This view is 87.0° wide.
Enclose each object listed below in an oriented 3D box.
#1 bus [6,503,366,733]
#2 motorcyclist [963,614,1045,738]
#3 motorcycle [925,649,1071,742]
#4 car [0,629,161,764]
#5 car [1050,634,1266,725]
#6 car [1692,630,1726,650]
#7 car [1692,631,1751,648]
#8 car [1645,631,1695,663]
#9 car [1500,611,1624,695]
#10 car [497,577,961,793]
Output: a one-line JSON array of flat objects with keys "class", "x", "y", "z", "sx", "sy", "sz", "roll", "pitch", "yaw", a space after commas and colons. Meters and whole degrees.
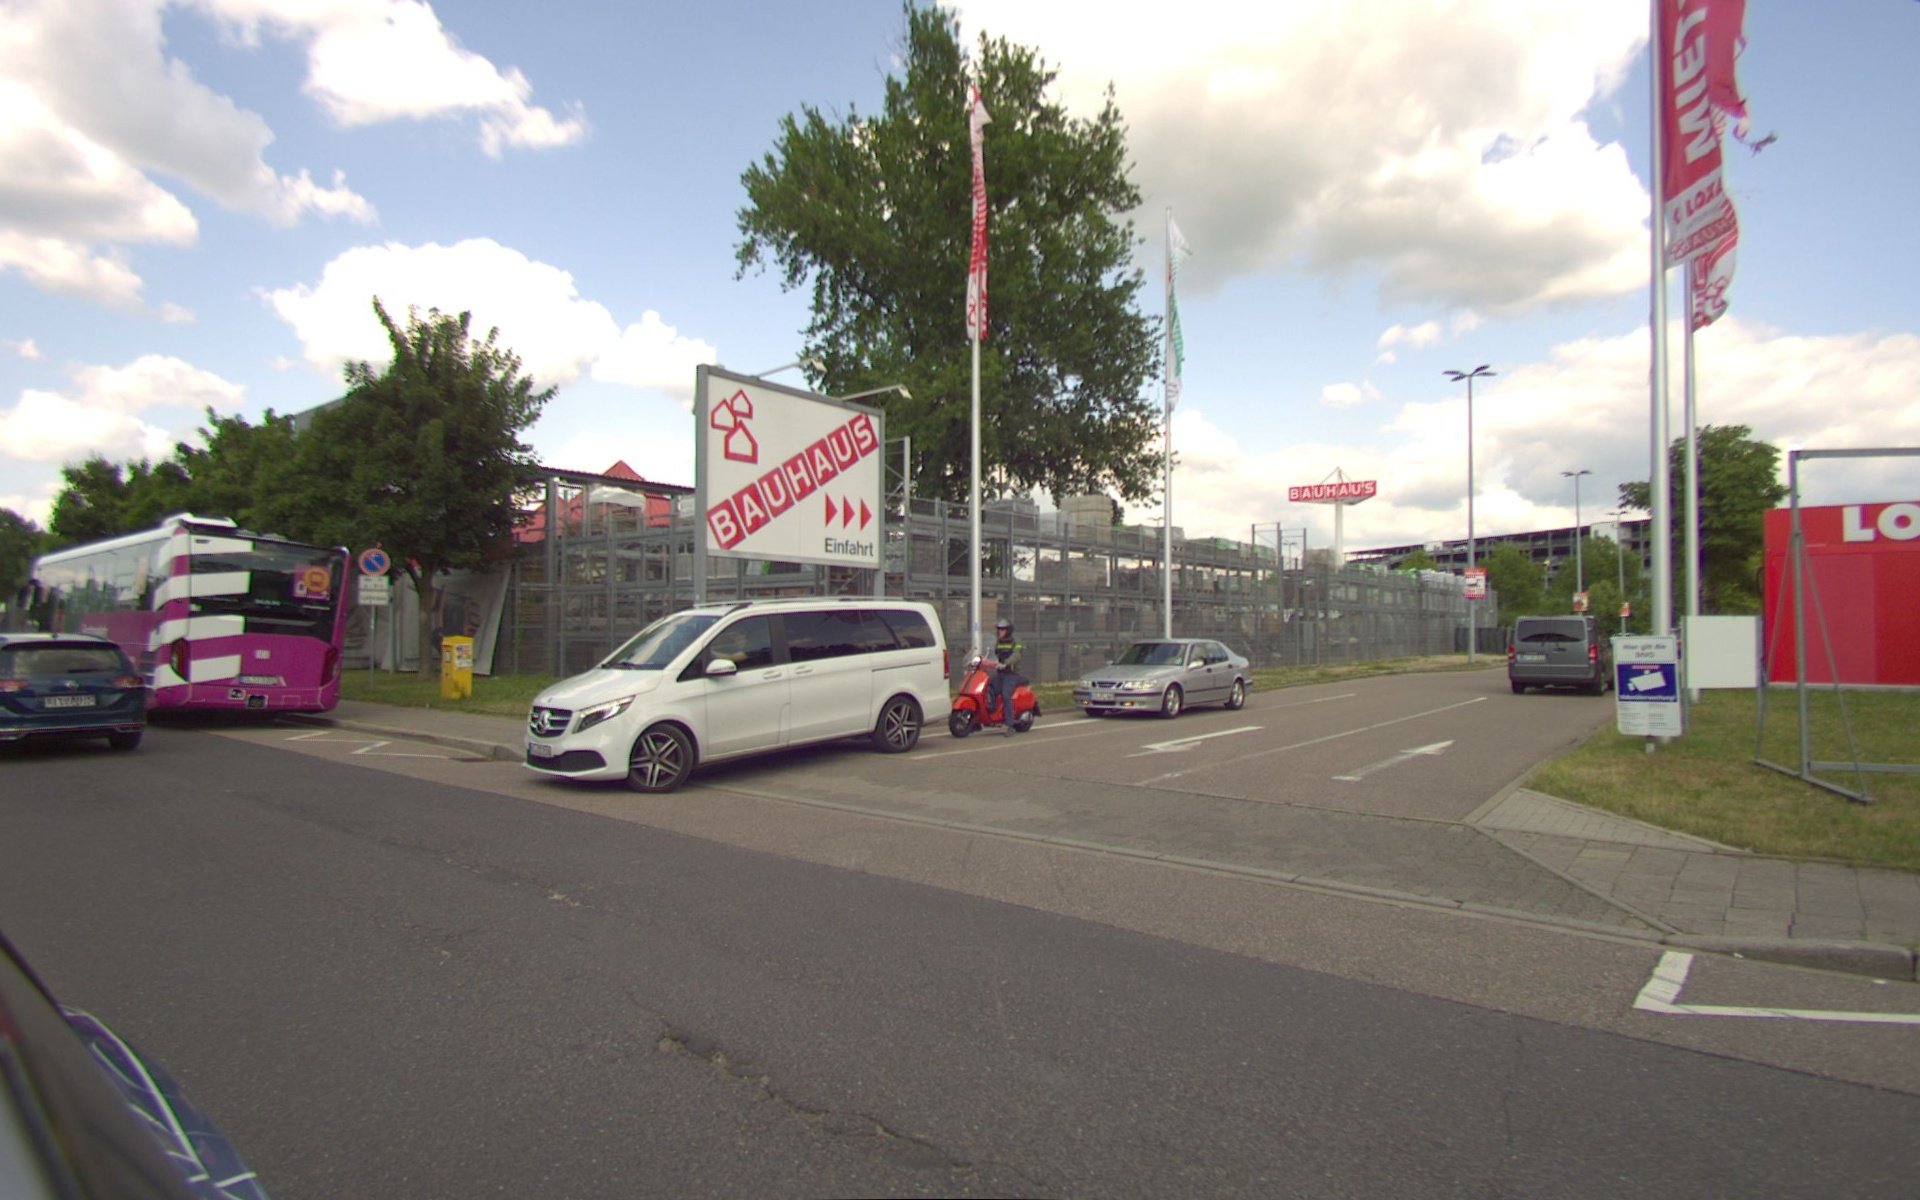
[{"class": "bus", "x": -16.140, "y": 0.512, "z": 20.391, "sx": 13.205, "sy": 3.449, "sz": 2.636, "roll": -2, "pitch": -6, "yaw": 40}, {"class": "motorcyclist", "x": 0.643, "y": 1.089, "z": 14.801, "sx": 0.994, "sy": 1.736, "sz": 0.667, "roll": -2, "pitch": -3, "yaw": 40}, {"class": "motorcycle", "x": 0.590, "y": 1.341, "z": 14.722, "sx": 0.993, "sy": 1.223, "sz": 2.198, "roll": -2, "pitch": -3, "yaw": 40}, {"class": "car", "x": -11.977, "y": 1.131, "z": 12.781, "sx": 4.375, "sy": 1.470, "sz": 1.780, "roll": -2, "pitch": -4, "yaw": 36}, {"class": "car", "x": 3.823, "y": 1.375, "z": 18.953, "sx": 1.953, "sy": 1.465, "sz": 4.636, "roll": -2, "pitch": -2, "yaw": 40}, {"class": "car", "x": 62.772, "y": 3.353, "z": 84.771, "sx": 1.971, "sy": 1.641, "sz": 4.062, "roll": -2, "pitch": -2, "yaw": 40}, {"class": "car", "x": 70.661, "y": 3.657, "z": 93.970, "sx": 4.056, "sy": 1.468, "sz": 1.877, "roll": 0, "pitch": -2, "yaw": -4}, {"class": "car", "x": 38.130, "y": 2.473, "z": 54.318, "sx": 1.997, "sy": 1.623, "sz": 4.083, "roll": -2, "pitch": -2, "yaw": 38}, {"class": "car", "x": 14.837, "y": 1.248, "z": 24.831, "sx": 2.107, "sy": 1.859, "sz": 4.501, "roll": -2, "pitch": -2, "yaw": 37}, {"class": "car", "x": -2.424, "y": 0.848, "z": 11.692, "sx": 1.993, "sy": 1.964, "sz": 4.943, "roll": -2, "pitch": -3, "yaw": 45}]
